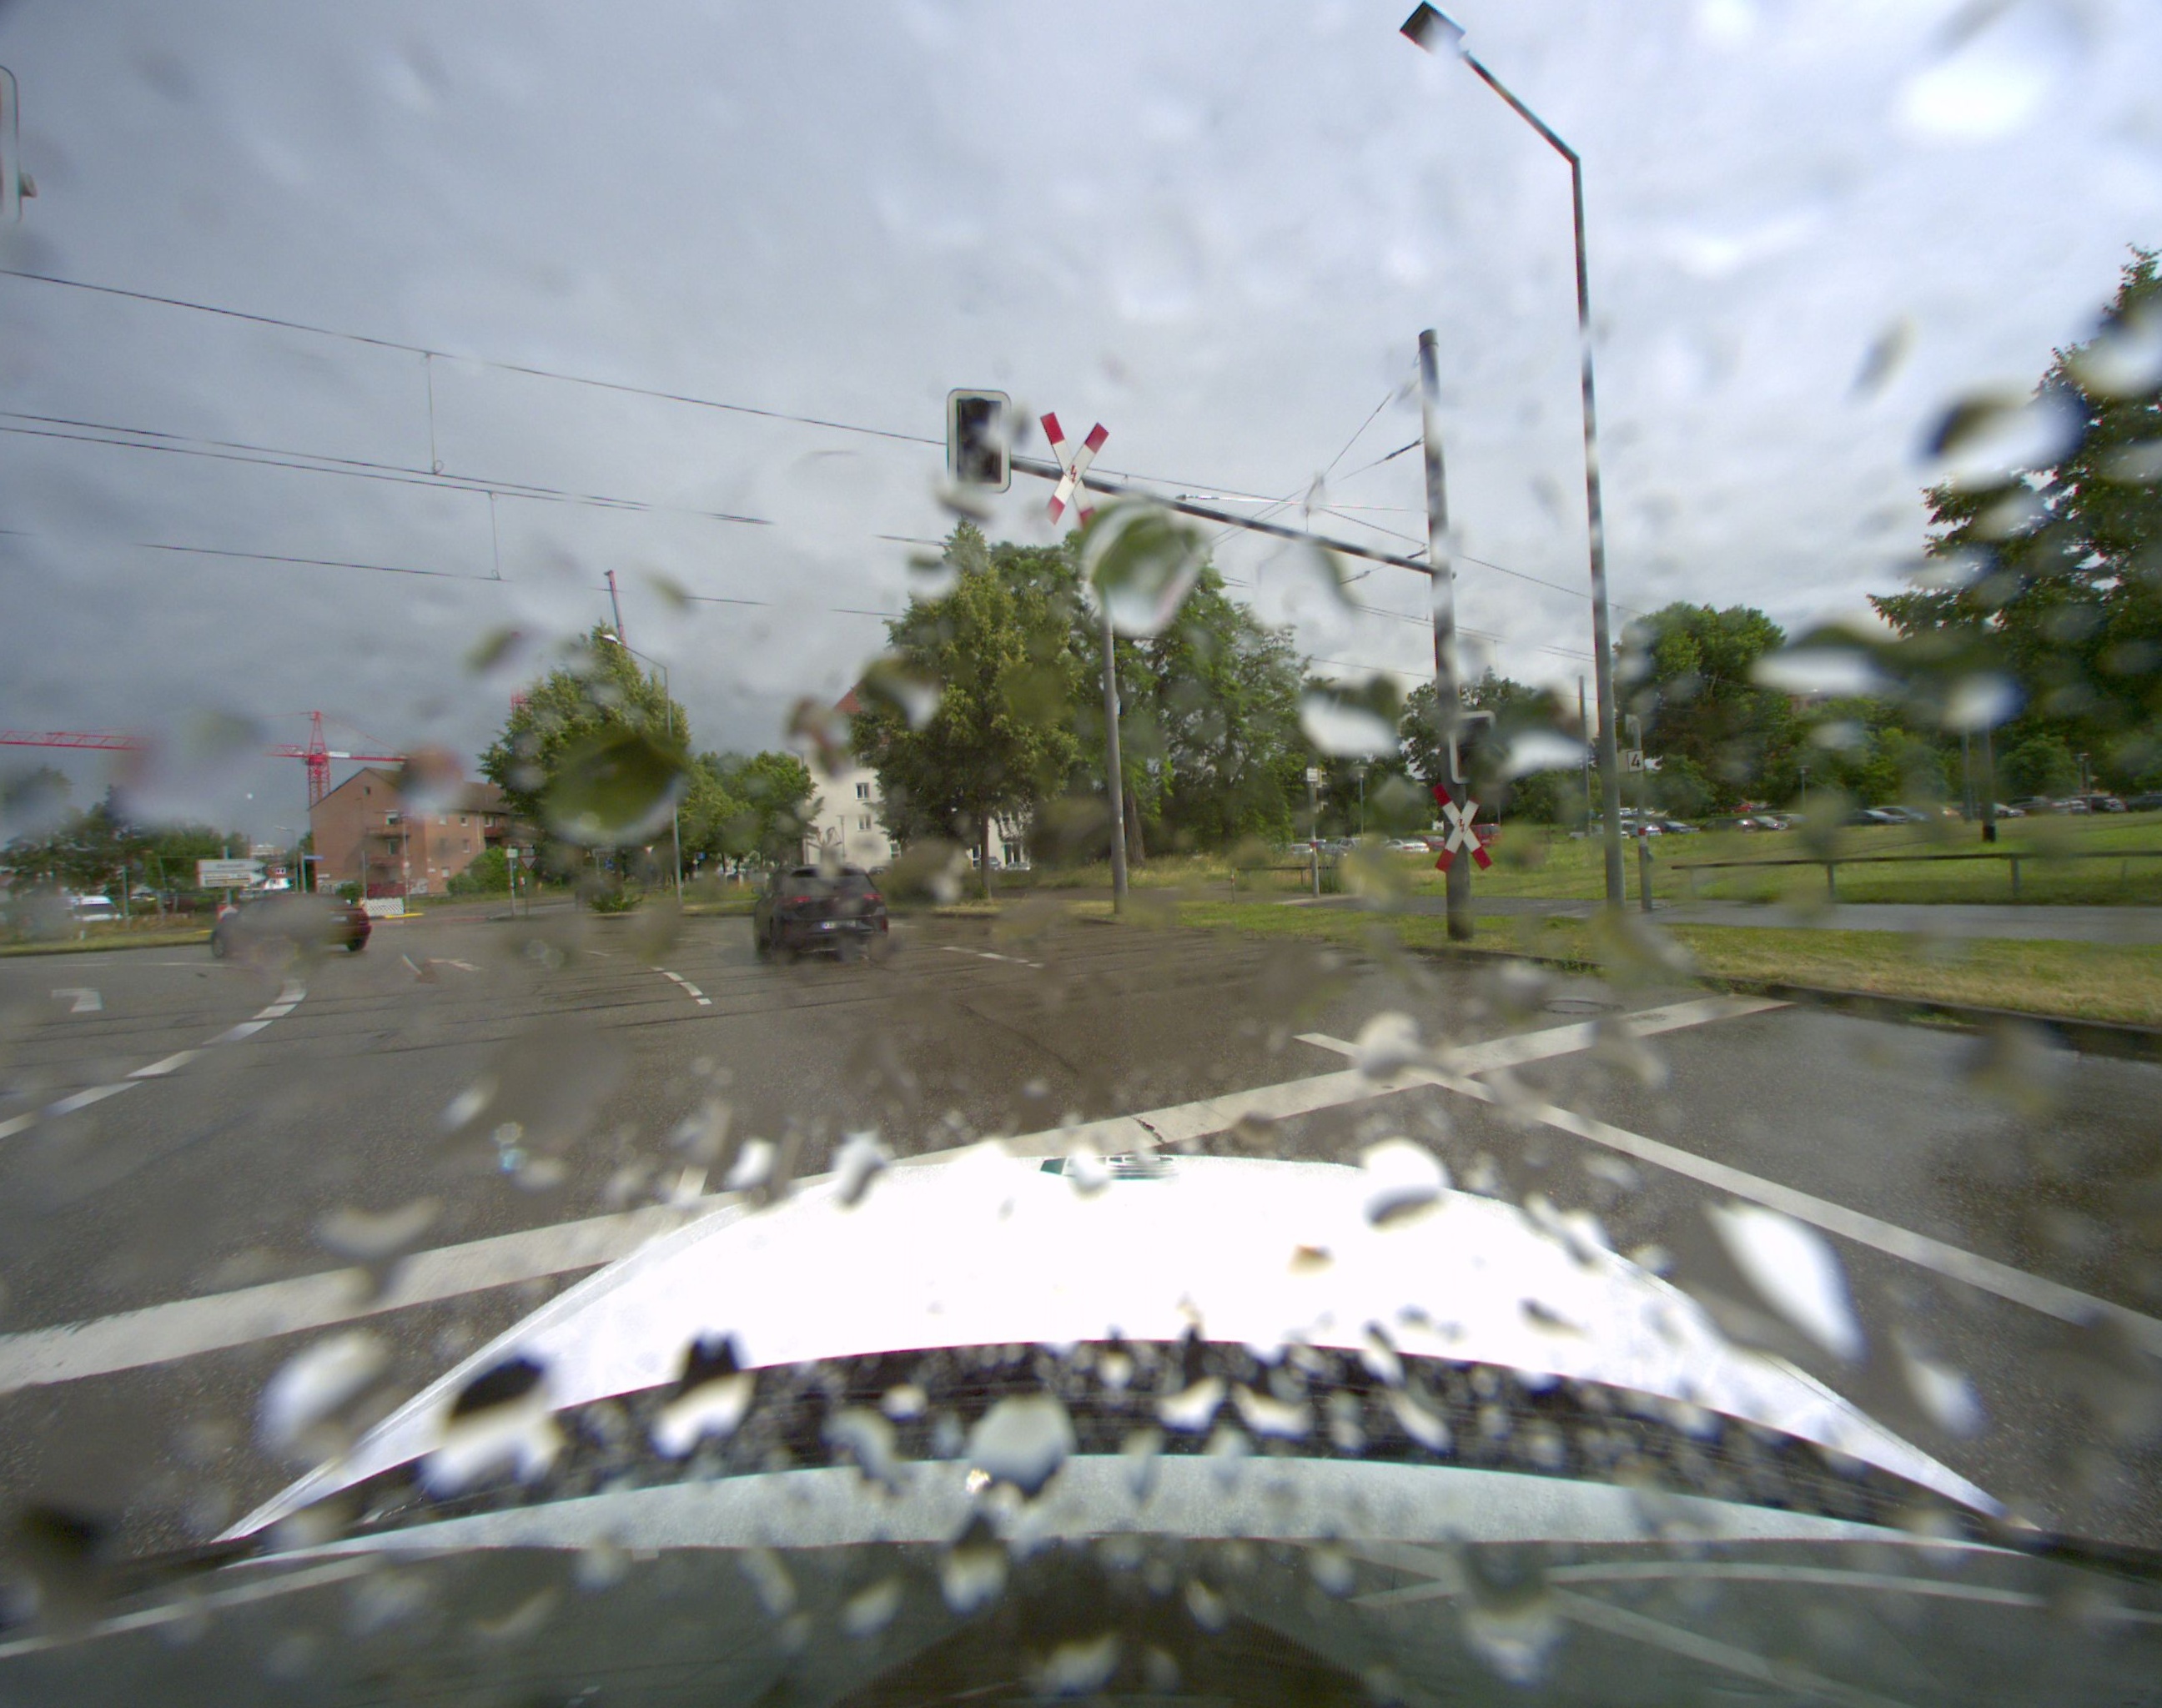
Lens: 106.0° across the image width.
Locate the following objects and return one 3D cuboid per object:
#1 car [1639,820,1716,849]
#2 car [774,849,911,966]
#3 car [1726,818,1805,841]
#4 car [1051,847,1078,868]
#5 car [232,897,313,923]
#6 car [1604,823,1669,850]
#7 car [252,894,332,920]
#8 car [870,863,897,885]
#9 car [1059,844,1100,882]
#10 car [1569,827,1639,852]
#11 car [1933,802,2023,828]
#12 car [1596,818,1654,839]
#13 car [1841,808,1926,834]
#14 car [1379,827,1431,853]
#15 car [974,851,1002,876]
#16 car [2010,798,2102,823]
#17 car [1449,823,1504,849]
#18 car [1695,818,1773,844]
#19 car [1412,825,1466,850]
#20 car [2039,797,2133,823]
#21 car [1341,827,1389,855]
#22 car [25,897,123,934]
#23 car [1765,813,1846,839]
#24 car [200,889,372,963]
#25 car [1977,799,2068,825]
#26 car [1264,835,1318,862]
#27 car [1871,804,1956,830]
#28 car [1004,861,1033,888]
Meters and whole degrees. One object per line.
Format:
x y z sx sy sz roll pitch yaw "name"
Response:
40.358 -1.306 55.258 1.991 1.714 3.991 -3 0 -6 "car"
-4.263 0.821 14.332 1.904 1.617 3.974 -4 1 -19 "car"
47.460 -1.678 56.566 1.843 1.308 3.968 -3 0 -7 "car"
-1.237 0.256 61.065 1.656 1.345 3.574 -3 3 -6 "car"
-62.804 4.318 63.320 1.597 1.632 4.082 -3 0 25 "car"
37.464 -1.136 55.050 1.544 1.660 3.619 -3 0 -7 "car"
-60.422 4.049 62.442 1.597 1.632 4.082 -3 0 25 "car"
-14.475 1.447 59.924 1.671 1.482 3.726 -2 0 -10 "car"
-0.130 0.500 50.117 2.102 2.057 5.155 -4 1 -3 "car"
35.126 -0.955 54.798 1.792 1.527 3.990 -3 0 -7 "car"
64.400 -2.801 58.543 1.843 1.559 3.968 -3 0 -7 "car"
45.781 -2.160 68.644 1.792 1.527 3.990 -3 0 -7 "car"
56.871 -2.312 57.787 1.843 1.559 3.968 -3 0 -7 "car"
20.710 -0.871 52.165 1.637 1.461 3.605 -3 0 -5 "car"
-6.930 0.676 60.385 1.845 1.551 4.094 -3 3 -9 "car"
71.980 -3.175 60.185 1.843 1.559 3.968 -3 0 -7 "car"
25.679 -1.128 53.009 1.640 1.510 3.647 -3 0 -2 "car"
44.802 -1.541 55.968 1.843 1.559 3.968 -3 0 -7 "car"
23.171 -1.039 52.774 1.637 1.461 3.605 -3 0 -5 "car"
74.366 -3.226 60.322 1.843 1.559 3.968 -3 0 -7 "car"
18.290 -0.787 52.548 1.542 1.659 3.645 -3 0 -4 "car"
-63.337 3.816 51.221 6.191 2.085 2.054 -1 1 21 "car"
50.238 -1.892 56.566 1.843 1.559 3.968 -3 0 -7 "car"
-18.988 1.702 19.441 3.949 1.462 1.731 -3 1 28 "car"
68.501 -3.056 59.327 1.843 1.559 3.968 -3 0 -7 "car"
13.097 -0.308 50.987 1.843 1.559 3.968 -3 0 -7 "car"
60.296 -2.632 59.083 1.843 1.559 3.968 -3 0 -7 "car"
-3.766 1.215 49.428 1.600 1.510 3.615 -3 0 -4 "car"
